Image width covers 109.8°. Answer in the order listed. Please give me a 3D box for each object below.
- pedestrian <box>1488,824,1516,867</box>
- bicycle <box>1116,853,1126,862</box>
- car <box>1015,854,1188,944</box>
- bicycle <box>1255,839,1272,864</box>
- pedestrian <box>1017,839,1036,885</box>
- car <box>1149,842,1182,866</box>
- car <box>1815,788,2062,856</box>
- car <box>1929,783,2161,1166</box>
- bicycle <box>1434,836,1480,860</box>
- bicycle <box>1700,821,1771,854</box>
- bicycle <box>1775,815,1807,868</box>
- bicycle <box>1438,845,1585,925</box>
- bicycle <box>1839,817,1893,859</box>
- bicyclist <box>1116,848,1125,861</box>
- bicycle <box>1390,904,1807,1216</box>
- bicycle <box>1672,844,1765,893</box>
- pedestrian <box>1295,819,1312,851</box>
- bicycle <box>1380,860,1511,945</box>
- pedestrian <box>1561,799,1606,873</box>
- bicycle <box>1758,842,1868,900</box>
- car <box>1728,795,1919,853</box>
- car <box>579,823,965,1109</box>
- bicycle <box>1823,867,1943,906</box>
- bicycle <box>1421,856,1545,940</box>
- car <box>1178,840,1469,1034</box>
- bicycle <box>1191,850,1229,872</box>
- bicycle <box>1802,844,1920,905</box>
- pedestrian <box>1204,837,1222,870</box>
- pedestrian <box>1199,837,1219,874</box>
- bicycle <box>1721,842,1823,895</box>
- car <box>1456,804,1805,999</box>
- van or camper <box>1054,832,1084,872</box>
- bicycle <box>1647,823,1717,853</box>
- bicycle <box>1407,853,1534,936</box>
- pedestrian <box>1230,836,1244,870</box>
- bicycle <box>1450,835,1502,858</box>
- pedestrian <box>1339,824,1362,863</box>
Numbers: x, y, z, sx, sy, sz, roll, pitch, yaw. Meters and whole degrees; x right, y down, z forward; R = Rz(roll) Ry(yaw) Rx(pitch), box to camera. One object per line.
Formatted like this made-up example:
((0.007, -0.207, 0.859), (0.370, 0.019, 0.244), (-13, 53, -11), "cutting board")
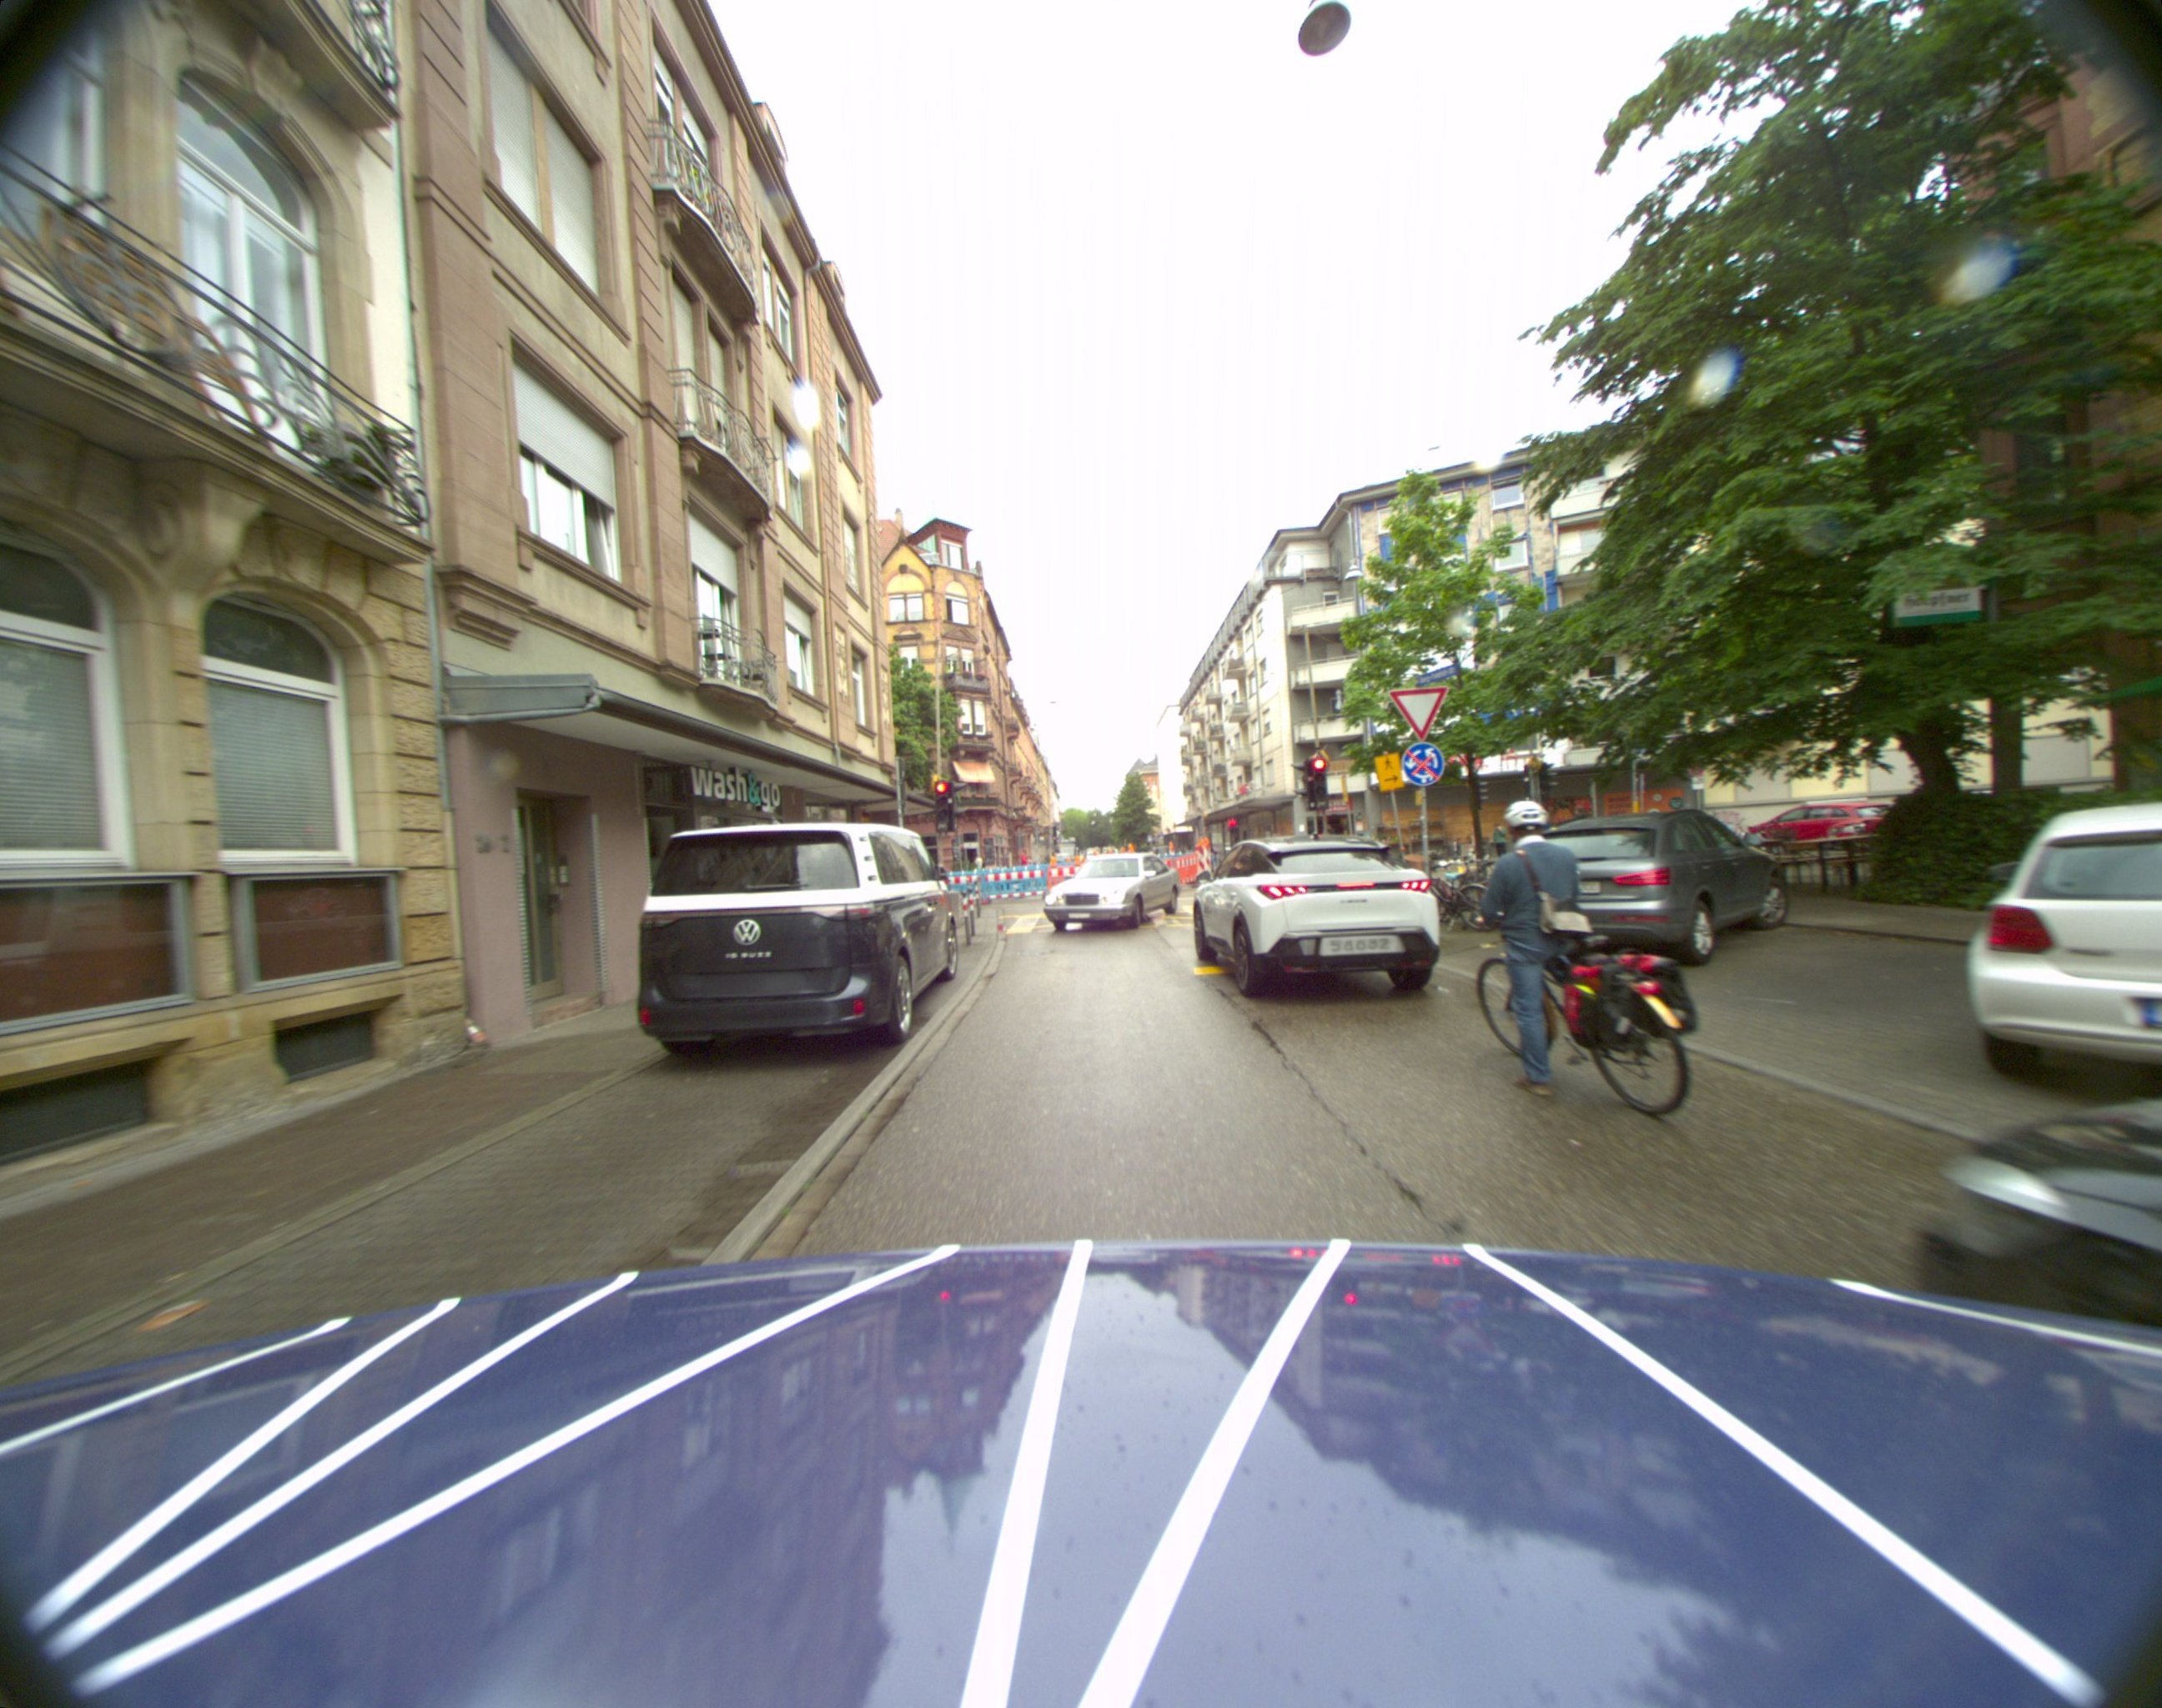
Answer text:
((16.449, -0.342, 29.707), (0.797, 1.606, 0.606), (-4, 2, 36), "pedestrian")
((5.054, 0.457, 97.062), (0.993, 1.149, 2.876), (-4, 0, -1), "bicycle")
((0.653, 0.833, 15.898), (1.856, 1.390, 4.987), (-3, 1, 23), "car")
((10.634, -0.135, 44.350), (0.450, 1.366, 2.024), (-6, 0, 2), "bicycle")
((-3.063, 0.452, 42.920), (0.696, 2.594, 0.539), (-5, 2, -31), "pedestrian")
((6.955, 0.032, 62.897), (1.901, 1.779, 3.999), (-4, 0, -4), "car")
((24.783, -0.876, 22.220), (4.377, 1.630, 1.846), (-3, 0, 25), "car")
((6.937, 0.393, 4.374), (4.731, 1.554, 1.996), (-6, 0, -33), "car")
((16.558, -0.257, 33.472), (0.569, 0.965, 1.688), (-4, 0, -34), "bicycle")
((22.693, -0.563, 26.348), (2.000, 0.966, 0.589), (-5, 2, -5), "bicycle")
((17.754, -0.303, 19.029), (0.474, 1.268, 1.870), (-3, -1, 41), "bicycle")
((6.893, 0.481, 12.275), (0.777, 1.137, 1.928), (-5, 1, -24), "bicycle")
((19.076, -0.405, 18.494), (0.588, 0.955, 1.726), (-3, 1, 36), "bicycle")
((5.025, 0.036, 97.051), (0.993, 1.591, 1.262), (-4, 0, -1), "bicyclist")
((2.669, 0.953, 4.371), (0.772, 1.173, 2.269), (-3, -1, -1), "bicycle")
((11.764, 0.265, 14.028), (1.394, 0.810, 0.405), (-4, 1, -4), "bicycle")
((11.314, -0.962, 38.641), (0.544, 1.575, 0.695), (-3, 2, 36), "pedestrian")
((5.382, 0.686, 11.334), (0.588, 1.137, 1.679), (-5, 1, -28), "bicycle")
((14.218, -0.504, 21.500), (0.942, 2.002, 0.865), (-4, 1, 36), "pedestrian")
((11.707, 0.270, 12.162), (1.394, 0.810, 0.405), (-4, 1, -4), "bicycle")
((25.511, -0.959, 26.379), (1.999, 1.671, 4.457), (-4, 0, -5), "car")
((-2.547, 0.754, 7.933), (1.999, 1.928, 5.228), (-2, 1, -2), "car")
((11.716, 0.463, 11.109), (1.394, 0.450, 0.405), (-4, 1, -4), "bicycle")
((5.947, 0.621, 11.331), (0.400, 1.137, 1.679), (-5, 1, -25), "bicycle")
((2.459, 0.726, 9.197), (1.863, 1.650, 5.008), (-2, 0, 0), "car")
((7.283, 0.382, 42.928), (1.896, 1.028, 0.661), (-6, 0, -14), "bicycle")
((11.692, 0.300, 11.405), (1.394, 0.810, 0.405), (-4, 1, -4), "bicycle")
((7.478, -0.027, 43.006), (0.862, 1.837, 0.770), (-4, 1, 9), "pedestrian")
((6.755, 0.082, 40.189), (0.717, 1.886, 0.606), (-4, 2, 36), "pedestrian")
((11.805, 0.242, 12.997), (1.394, 0.810, 0.405), (-4, 1, -4), "bicycle")
((6.604, 0.361, 8.961), (4.464, 1.555, 1.995), (-6, 3, -36), "car")
((-1.140, -0.201, 69.957), (2.411, 3.308, 7.072), (-4, 0, -1), "van or camper")
((22.905, -0.597, 28.984), (1.997, 0.966, 0.590), (-4, 2, 17), "bicycle")
((6.072, 0.601, 11.970), (0.400, 1.179, 1.874), (-5, 1, -25), "bicycle")
((8.579, -0.067, 41.713), (0.604, 1.837, 0.770), (-4, 1, 9), "pedestrian")
((17.433, -0.315, 33.582), (0.590, 0.966, 1.996), (-4, 2, -34), "bicycle")
((13.415, -0.524, 37.784), (0.692, 1.757, 0.865), (-4, 9, 36), "pedestrian")
